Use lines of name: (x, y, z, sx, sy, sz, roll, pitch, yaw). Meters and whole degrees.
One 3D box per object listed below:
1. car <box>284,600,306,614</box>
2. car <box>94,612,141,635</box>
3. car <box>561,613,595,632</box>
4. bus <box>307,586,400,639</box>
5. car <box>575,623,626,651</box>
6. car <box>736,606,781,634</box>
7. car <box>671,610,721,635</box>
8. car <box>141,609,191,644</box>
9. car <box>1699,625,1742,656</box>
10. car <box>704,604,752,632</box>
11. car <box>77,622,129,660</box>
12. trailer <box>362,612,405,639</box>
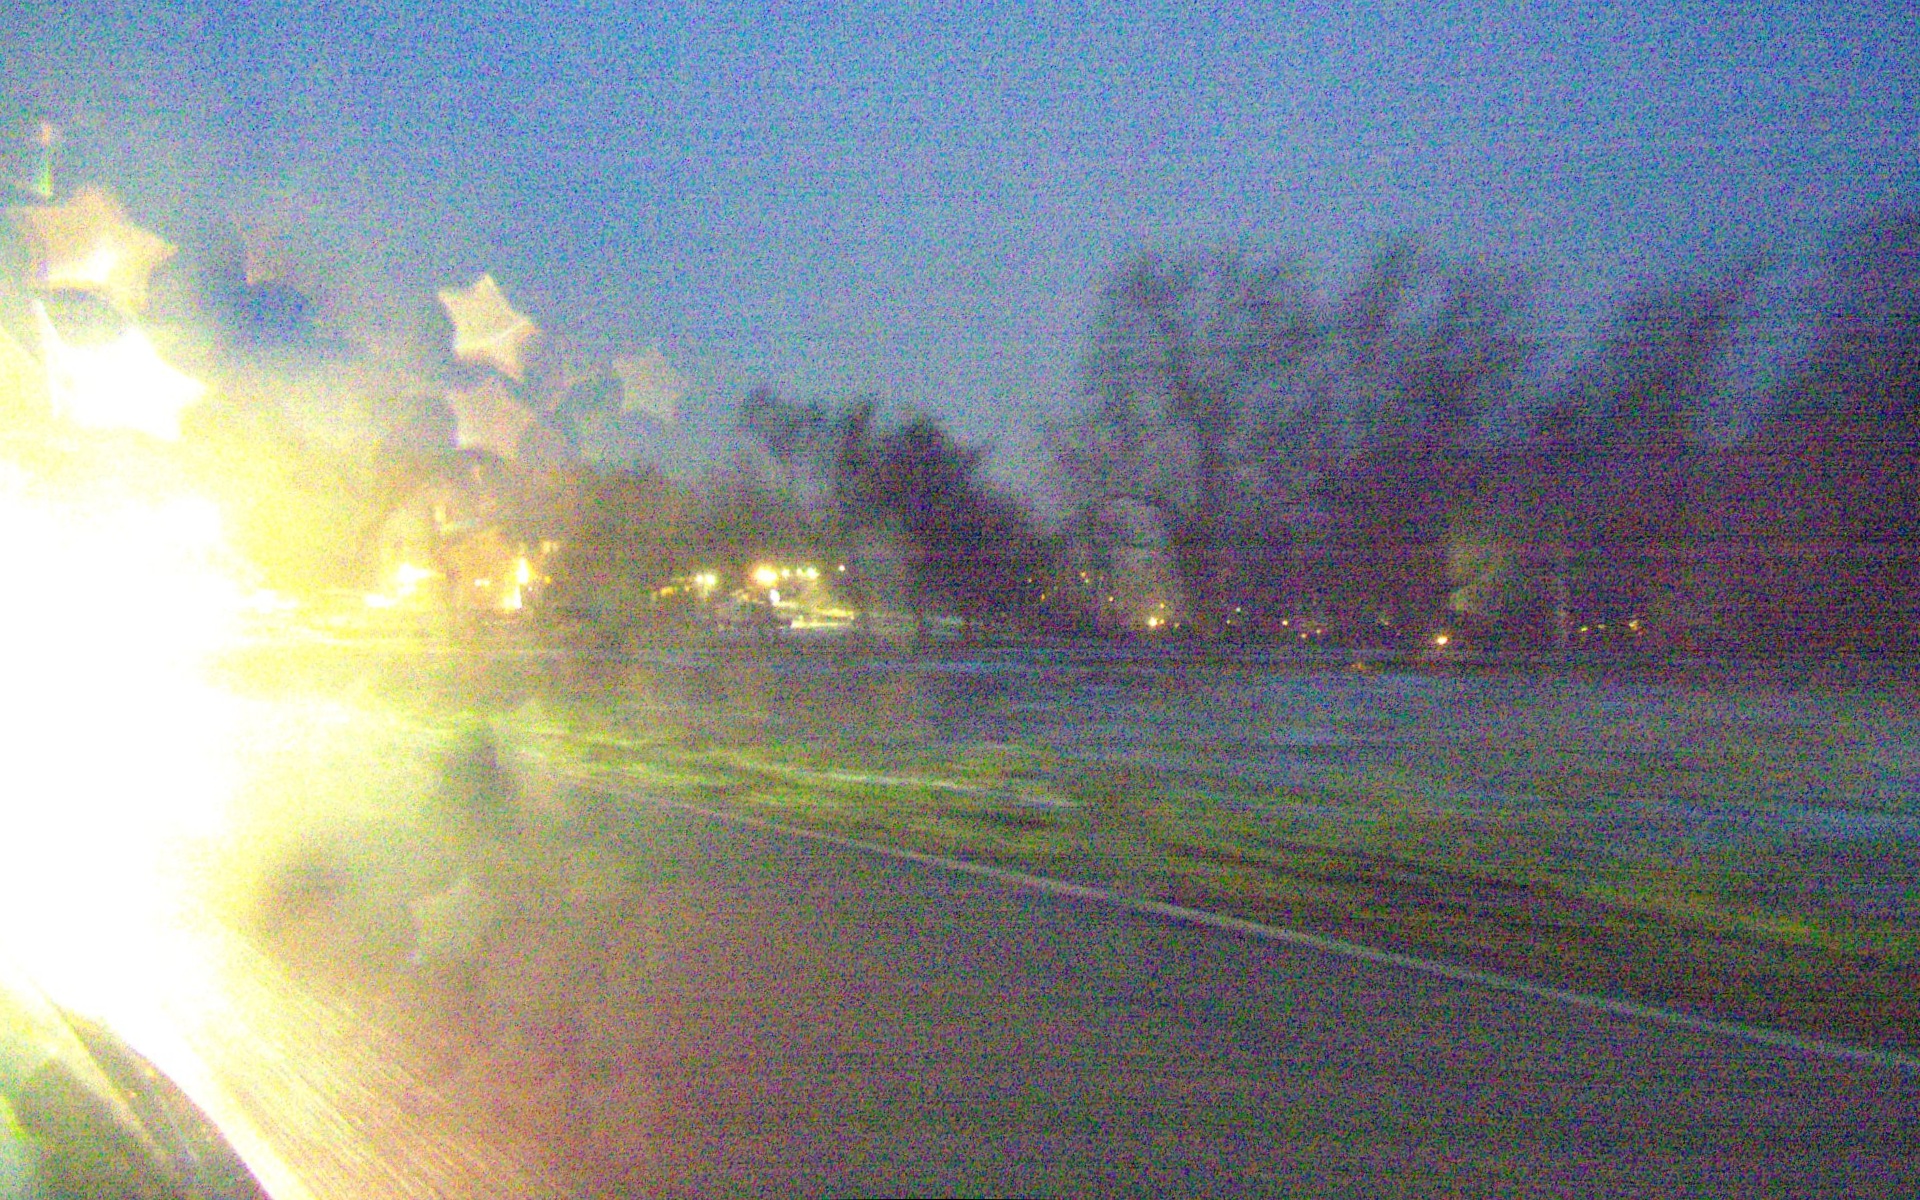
car: (-73.590, 0.782, 112.058, 1.612, 1.522, 4.130, 2, -2, -27)
car: (-57.747, 1.607, 69.459, 1.899, 1.521, 4.107, 1, -2, -32)
car: (-37.011, 2.168, 98.146, 1.834, 1.408, 4.043, 3, 3, -3)
bus: (-48.562, 0.844, 80.770, 13.059, 3.897, 2.861, 1, 1, 43)
car: (-27.315, 2.758, 76.757, 1.914, 1.709, 4.632, -3, 4, -44)
car: (-17.035, 1.644, 85.613, 4.001, 2.071, 1.739, 2, 4, 43)
car: (-21.485, 1.825, 82.413, 1.914, 1.709, 4.632, -3, 4, -44)
car: (-50.639, 1.626, 64.635, 1.966, 2.028, 4.859, -3, 2, -32)
car: (61.022, 3.245, 81.262, 2.297, 2.028, 4.619, 1, 3, 31)
car: (-19.414, 1.502, 84.586, 4.001, 2.071, 1.972, 2, 4, 43)
car: (-36.857, 1.741, 43.551, 1.615, 1.521, 4.102, 2, -2, -40)
trailer: (-37.413, 1.635, 65.654, 1.789, 1.690, 4.109, 3, -2, -38)
